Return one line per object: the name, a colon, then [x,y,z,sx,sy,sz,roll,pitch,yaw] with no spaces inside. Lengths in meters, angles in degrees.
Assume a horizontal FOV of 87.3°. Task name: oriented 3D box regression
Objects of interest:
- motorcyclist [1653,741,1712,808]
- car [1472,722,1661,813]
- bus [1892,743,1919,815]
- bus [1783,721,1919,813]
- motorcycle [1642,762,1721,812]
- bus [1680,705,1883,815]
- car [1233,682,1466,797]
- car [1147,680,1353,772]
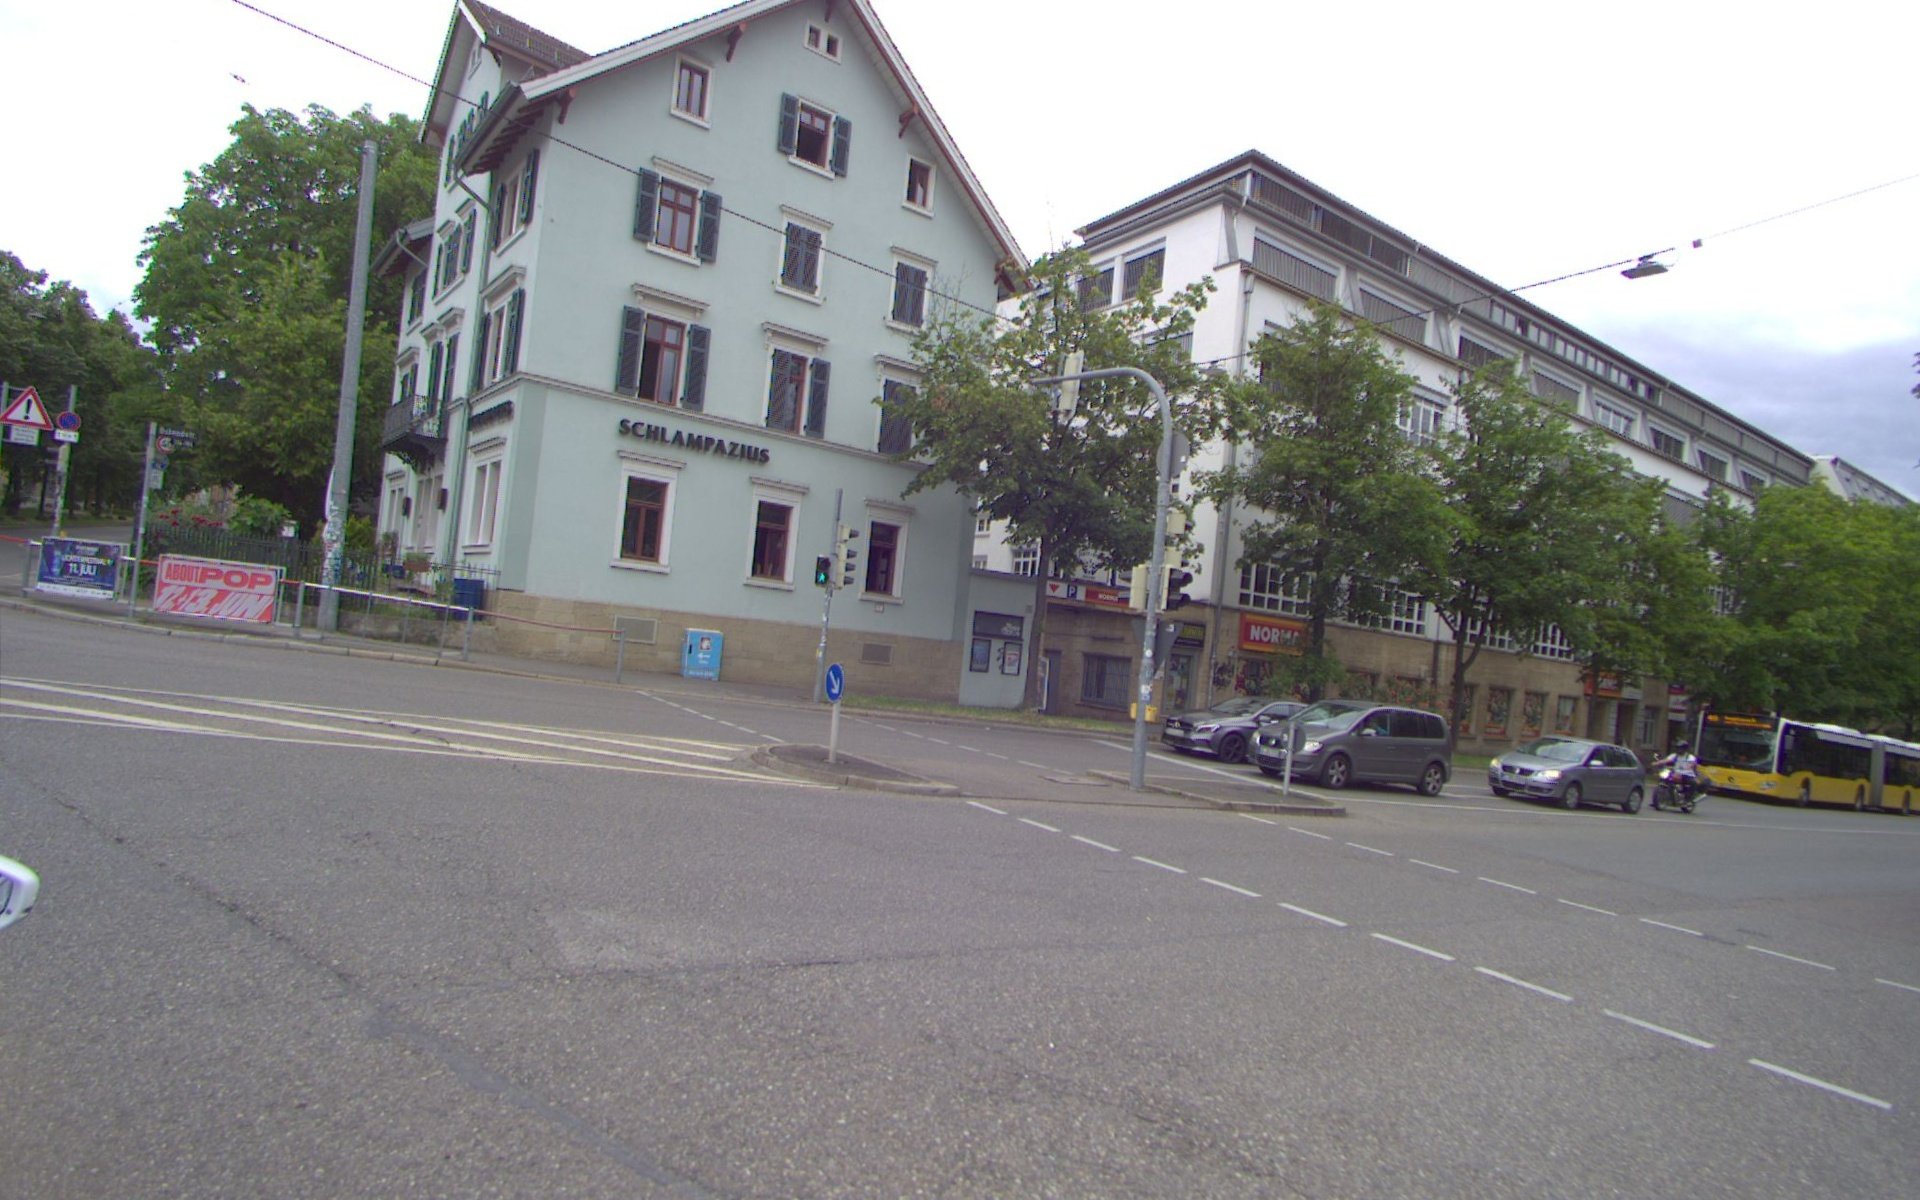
motorcyclist: [17.300,4.178,24.077,1.000,1.434,0.703,8,-1,-32]
car: [13.036,3.598,21.595,3.748,1.438,1.654,9,-2,-27]
bus: [52.742,9.716,52.264,12.722,3.380,3.415,9,-2,-34]
bus: [39.171,7.276,43.171,10.833,3.084,2.854,9,-2,-34]
motorcycle: [17.292,4.481,24.089,2.375,0.998,0.633,9,-2,-33]
bus: [30.548,6.006,37.186,10.309,3.144,2.838,9,-2,-34]
car: [7.457,2.670,19.200,4.151,1.656,1.700,9,-3,-27]
car: [6.318,2.753,21.849,4.150,1.440,1.699,9,-2,-27]
